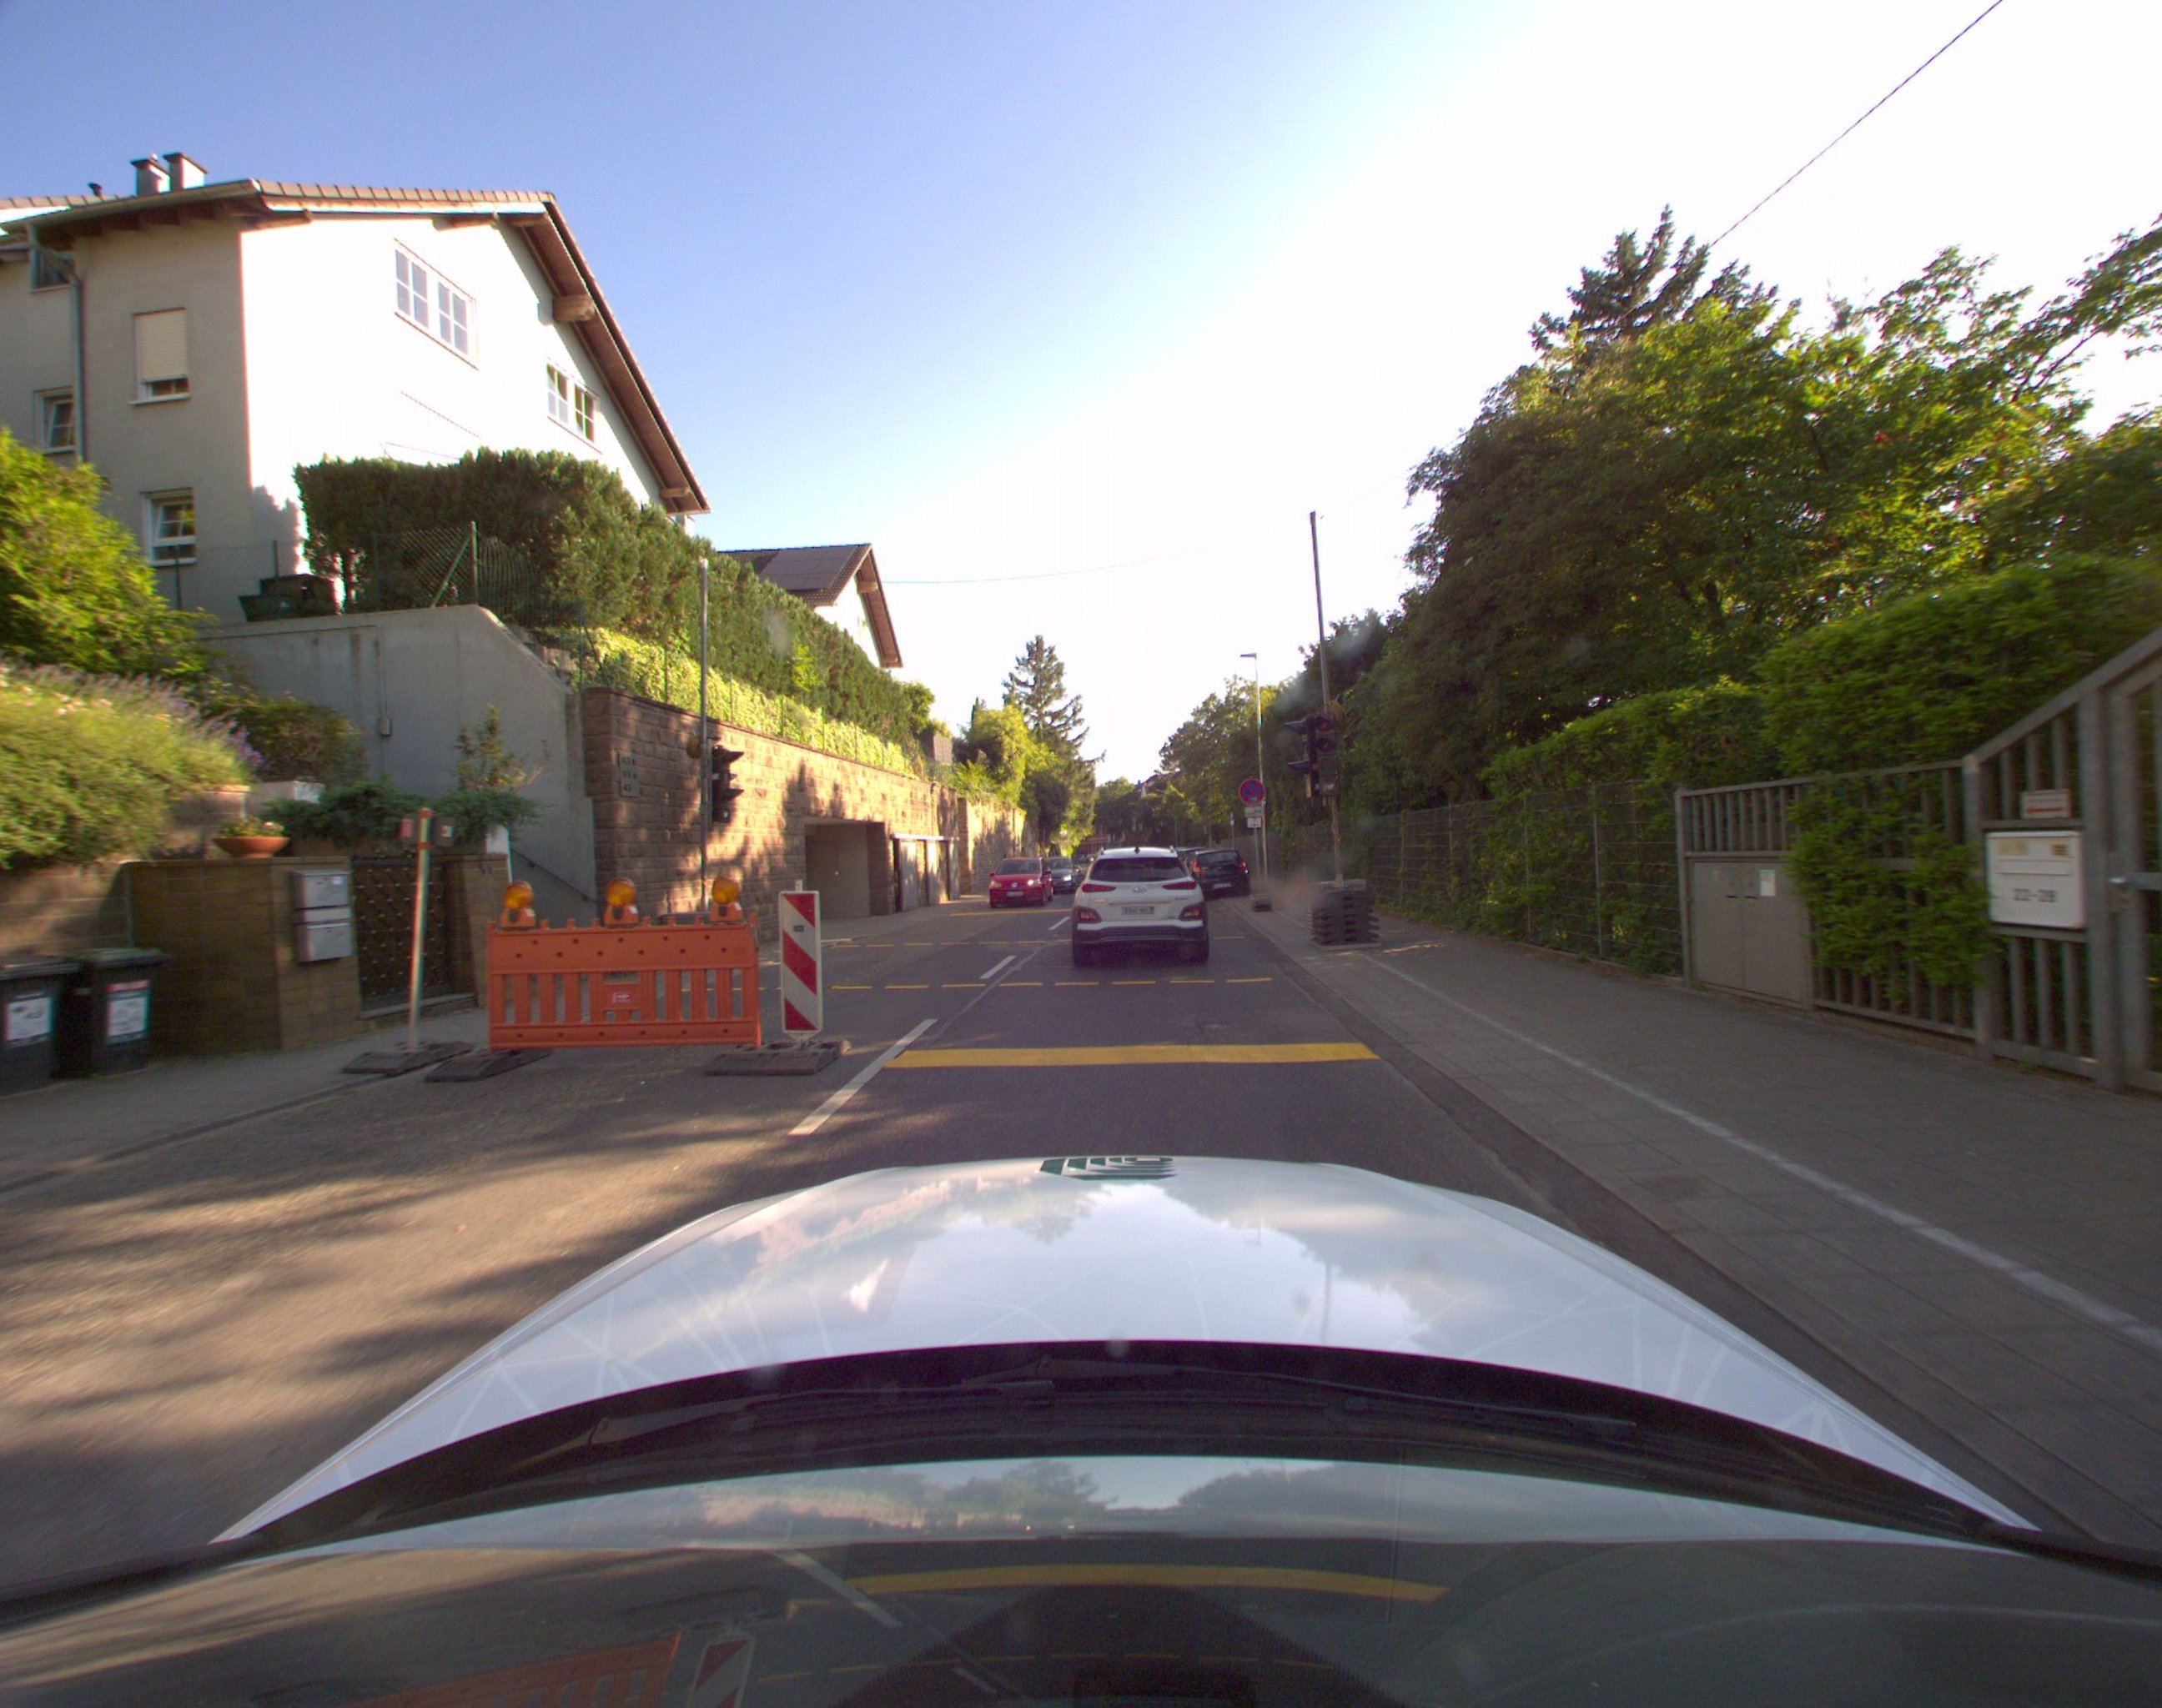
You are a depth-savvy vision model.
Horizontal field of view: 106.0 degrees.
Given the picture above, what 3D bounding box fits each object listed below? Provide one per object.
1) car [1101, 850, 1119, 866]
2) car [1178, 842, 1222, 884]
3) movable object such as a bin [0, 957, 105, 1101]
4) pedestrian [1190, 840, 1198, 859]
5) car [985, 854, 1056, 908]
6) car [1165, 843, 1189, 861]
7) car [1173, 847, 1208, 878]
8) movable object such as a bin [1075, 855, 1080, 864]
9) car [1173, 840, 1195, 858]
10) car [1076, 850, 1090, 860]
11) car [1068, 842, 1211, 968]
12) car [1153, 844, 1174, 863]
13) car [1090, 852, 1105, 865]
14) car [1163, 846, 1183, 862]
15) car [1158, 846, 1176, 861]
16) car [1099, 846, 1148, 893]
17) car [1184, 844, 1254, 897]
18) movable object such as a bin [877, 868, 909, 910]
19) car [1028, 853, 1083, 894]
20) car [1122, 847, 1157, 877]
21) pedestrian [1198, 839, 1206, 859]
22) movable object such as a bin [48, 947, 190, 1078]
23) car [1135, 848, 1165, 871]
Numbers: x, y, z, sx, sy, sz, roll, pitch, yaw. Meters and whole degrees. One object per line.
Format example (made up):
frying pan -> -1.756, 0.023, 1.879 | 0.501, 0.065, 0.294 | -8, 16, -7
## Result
car -> 2.972, 0.433, 82.583 | 1.543, 1.466, 3.574 | -4, 0, 6
car -> 5.169, 0.367, 35.496 | 1.644, 1.564, 2.878 | -7, -1, 7
movable object such as a bin -> -7.318, 1.195, 5.655 | 0.454, 0.884, 0.501 | -1, 0, 4
pedestrian -> 9.505, -0.379, 68.320 | 0.500, 1.606, 0.492 | -5, 0, 6
car -> -1.779, 0.775, 25.100 | 1.620, 1.422, 3.566 | -3, 0, 4
car -> 9.289, -0.144, 79.422 | 1.590, 1.565, 3.996 | -5, 0, -3
car -> 5.640, 0.413, 41.934 | 1.701, 1.497, 4.824 | -1, 0, 8
movable object such as a bin -> -0.400, 0.645, 92.648 | 0.493, 1.011, 1.114 | -1, 0, 5
car -> 9.380, -0.431, 74.402 | 1.679, 1.431, 4.003 | -5, 0, 3
car -> 0.386, 0.199, 145.770 | 1.757, 1.616, 3.984 | -1, 1, -12
car -> 0.823, 0.640, 12.232 | 1.765, 1.542, 4.003 | -1, 0, 2
car -> 7.428, -0.070, 73.364 | 1.686, 1.447, 3.887 | -5, 1, 5
car -> 2.141, 0.624, 107.538 | 1.736, 1.474, 3.999 | -6, -1, -1
car -> 9.517, 0.000, 84.488 | 1.588, 1.519, 3.933 | -5, 0, 1
car -> 9.540, -0.078, 90.295 | 1.588, 1.489, 3.603 | -5, 0, 1
car -> 1.595, 0.522, 29.584 | 1.504, 1.533, 3.554 | -3, 0, 6
car -> 4.204, 0.449, 25.316 | 1.786, 1.440, 4.006 | -3, 0, 5
movable object such as a bin -> -5.469, 1.013, 23.691 | 0.655, 1.175, 0.666 | -3, 0, 6
car -> -0.957, 0.734, 32.078 | 1.641, 1.411, 3.936 | -3, 0, 5
car -> 3.135, 0.409, 43.035 | 1.562, 1.477, 3.556 | -2, 0, 8
pedestrian -> 10.119, -0.408, 67.992 | 0.500, 1.569, 0.504 | -5, 0, 6
movable object such as a bin -> -7.277, 1.183, 6.179 | 0.454, 0.884, 0.501 | -1, 0, 4
car -> 4.911, 0.342, 57.673 | 1.683, 1.533, 3.893 | -2, 0, 11
